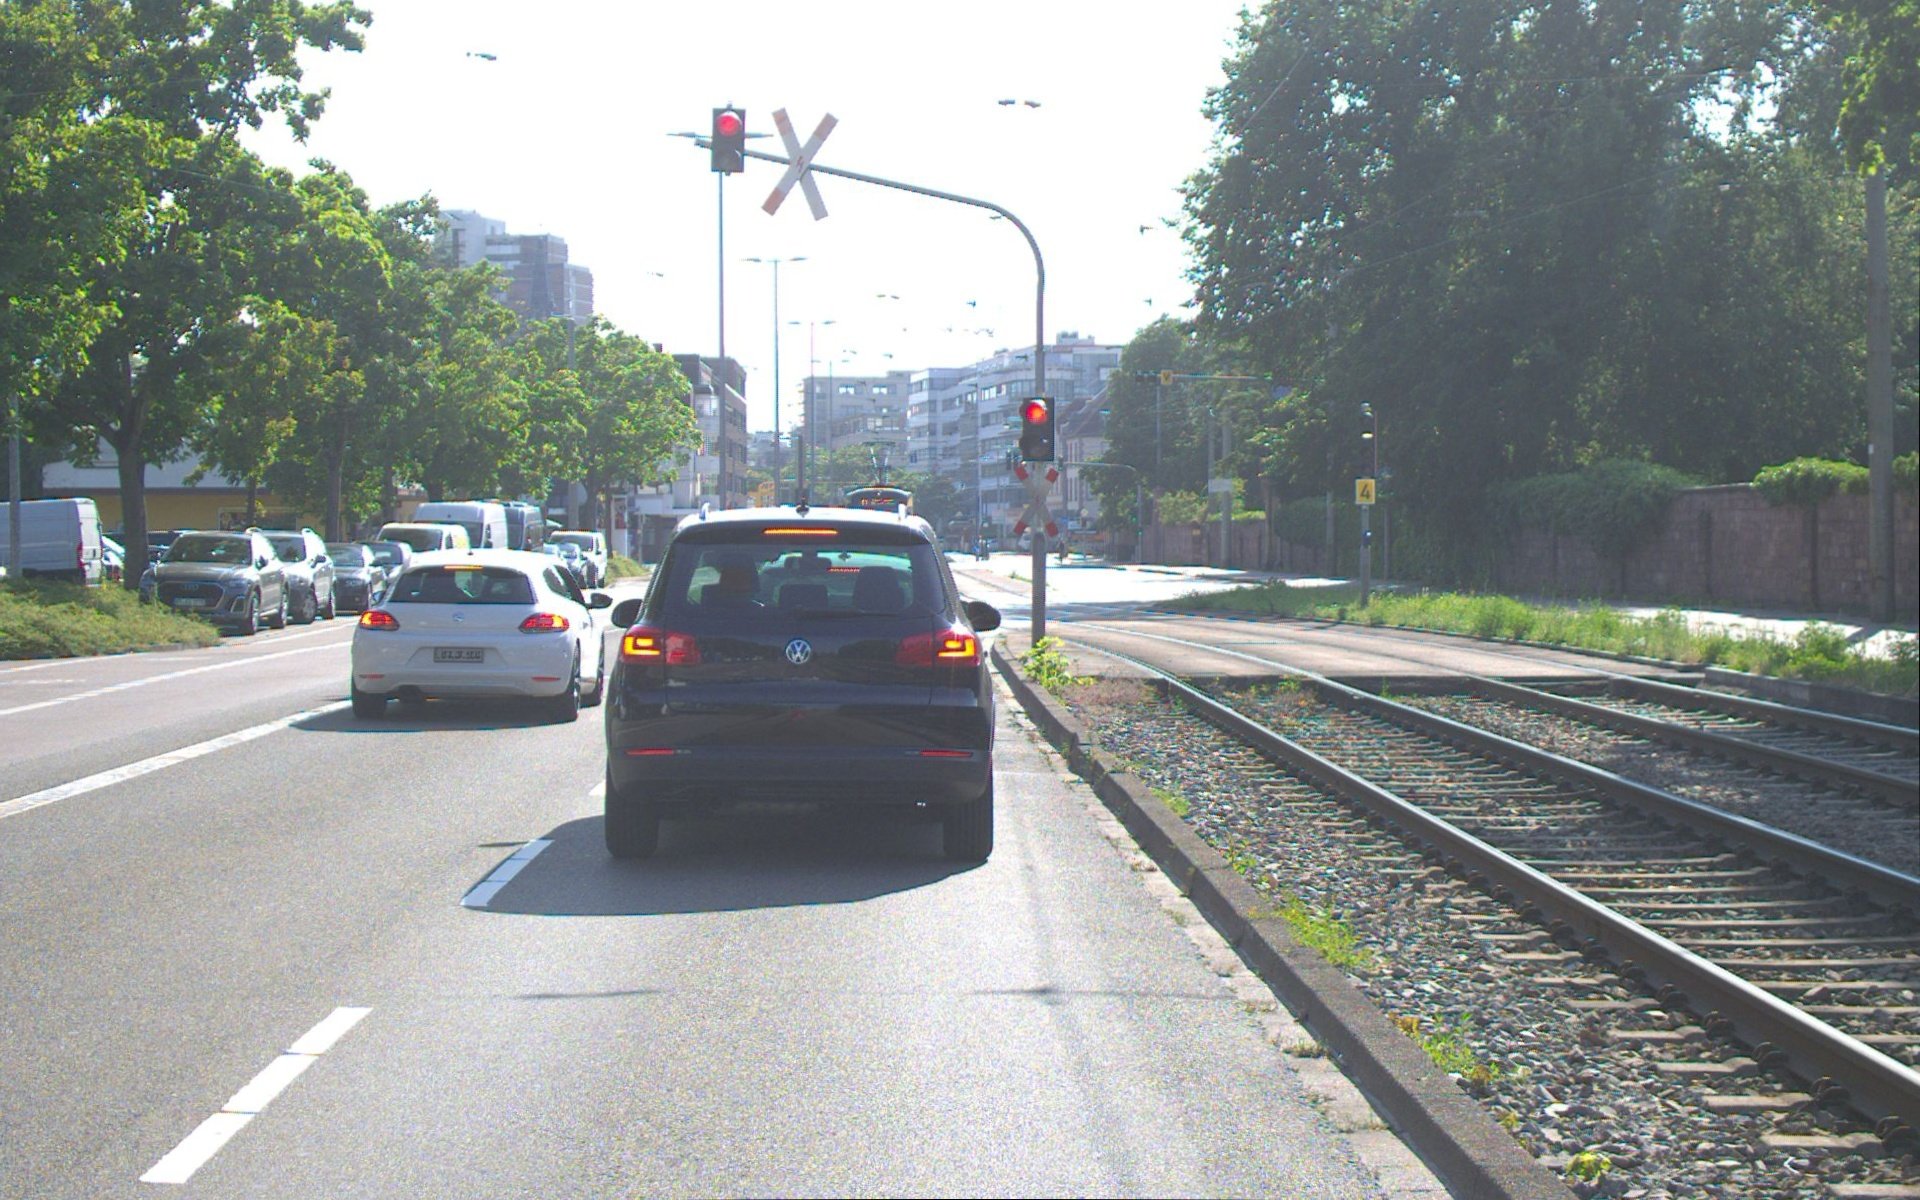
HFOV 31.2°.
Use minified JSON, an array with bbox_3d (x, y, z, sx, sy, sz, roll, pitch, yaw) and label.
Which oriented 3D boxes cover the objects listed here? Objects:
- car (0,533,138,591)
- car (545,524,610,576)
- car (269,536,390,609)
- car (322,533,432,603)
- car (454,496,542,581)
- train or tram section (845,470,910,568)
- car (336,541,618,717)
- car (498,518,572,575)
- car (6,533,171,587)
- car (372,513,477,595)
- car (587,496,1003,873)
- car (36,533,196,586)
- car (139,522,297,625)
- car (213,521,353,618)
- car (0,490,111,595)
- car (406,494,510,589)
[{"bbox_3d":[-22.681,-0.952,85.779,3.986,1.392,1.738,0,1,-4],"label":"car"},{"bbox_3d":[-13.010,-1.717,117.130,1.732,1.689,4.000,0,2,1],"label":"car"},{"bbox_3d":[-12.693,-0.572,69.402,1.732,1.384,3.735,0,2,1],"label":"car"},{"bbox_3d":[-12.743,-0.715,75.285,1.732,1.445,3.735,0,2,1],"label":"car"},{"bbox_3d":[-12.616,-1.687,94.096,1.732,2.261,4.645,0,1,1],"label":"car"},{"bbox_3d":[-3.075,-3.051,129.799,2.326,3.558,8.901,0,1,-1],"label":"train or tram section"},{"bbox_3d":[-3.997,0.195,29.008,1.864,1.343,4.000,0,1,-1],"label":"car"},{"bbox_3d":[-13.043,-1.650,105.744,1.732,1.689,4.000,0,2,1],"label":"car"},{"bbox_3d":[-23.104,-1.067,91.246,3.986,1.392,1.738,0,1,-4],"label":"car"},{"bbox_3d":[-12.521,-1.097,80.600,1.732,1.853,4.489,0,1,1],"label":"car"},{"bbox_3d":[-0.757,0.345,17.154,1.811,1.639,4.000,1,1,-1],"label":"car"},{"bbox_3d":[-22.924,-1.109,93.479,3.986,1.392,1.738,0,1,-4],"label":"car"},{"bbox_3d":[-12.354,-0.478,57.469,1.732,1.652,4.000,0,1,1],"label":"car"},{"bbox_3d":[-12.419,-0.585,63.267,1.732,1.689,4.000,0,2,1],"label":"car"},{"bbox_3d":[-22.800,-1.337,80.339,5.375,2.415,2.088,0,1,-1],"label":"car"},{"bbox_3d":[-12.705,-1.505,87.268,1.863,2.339,4.985,0,1,1],"label":"car"}]
